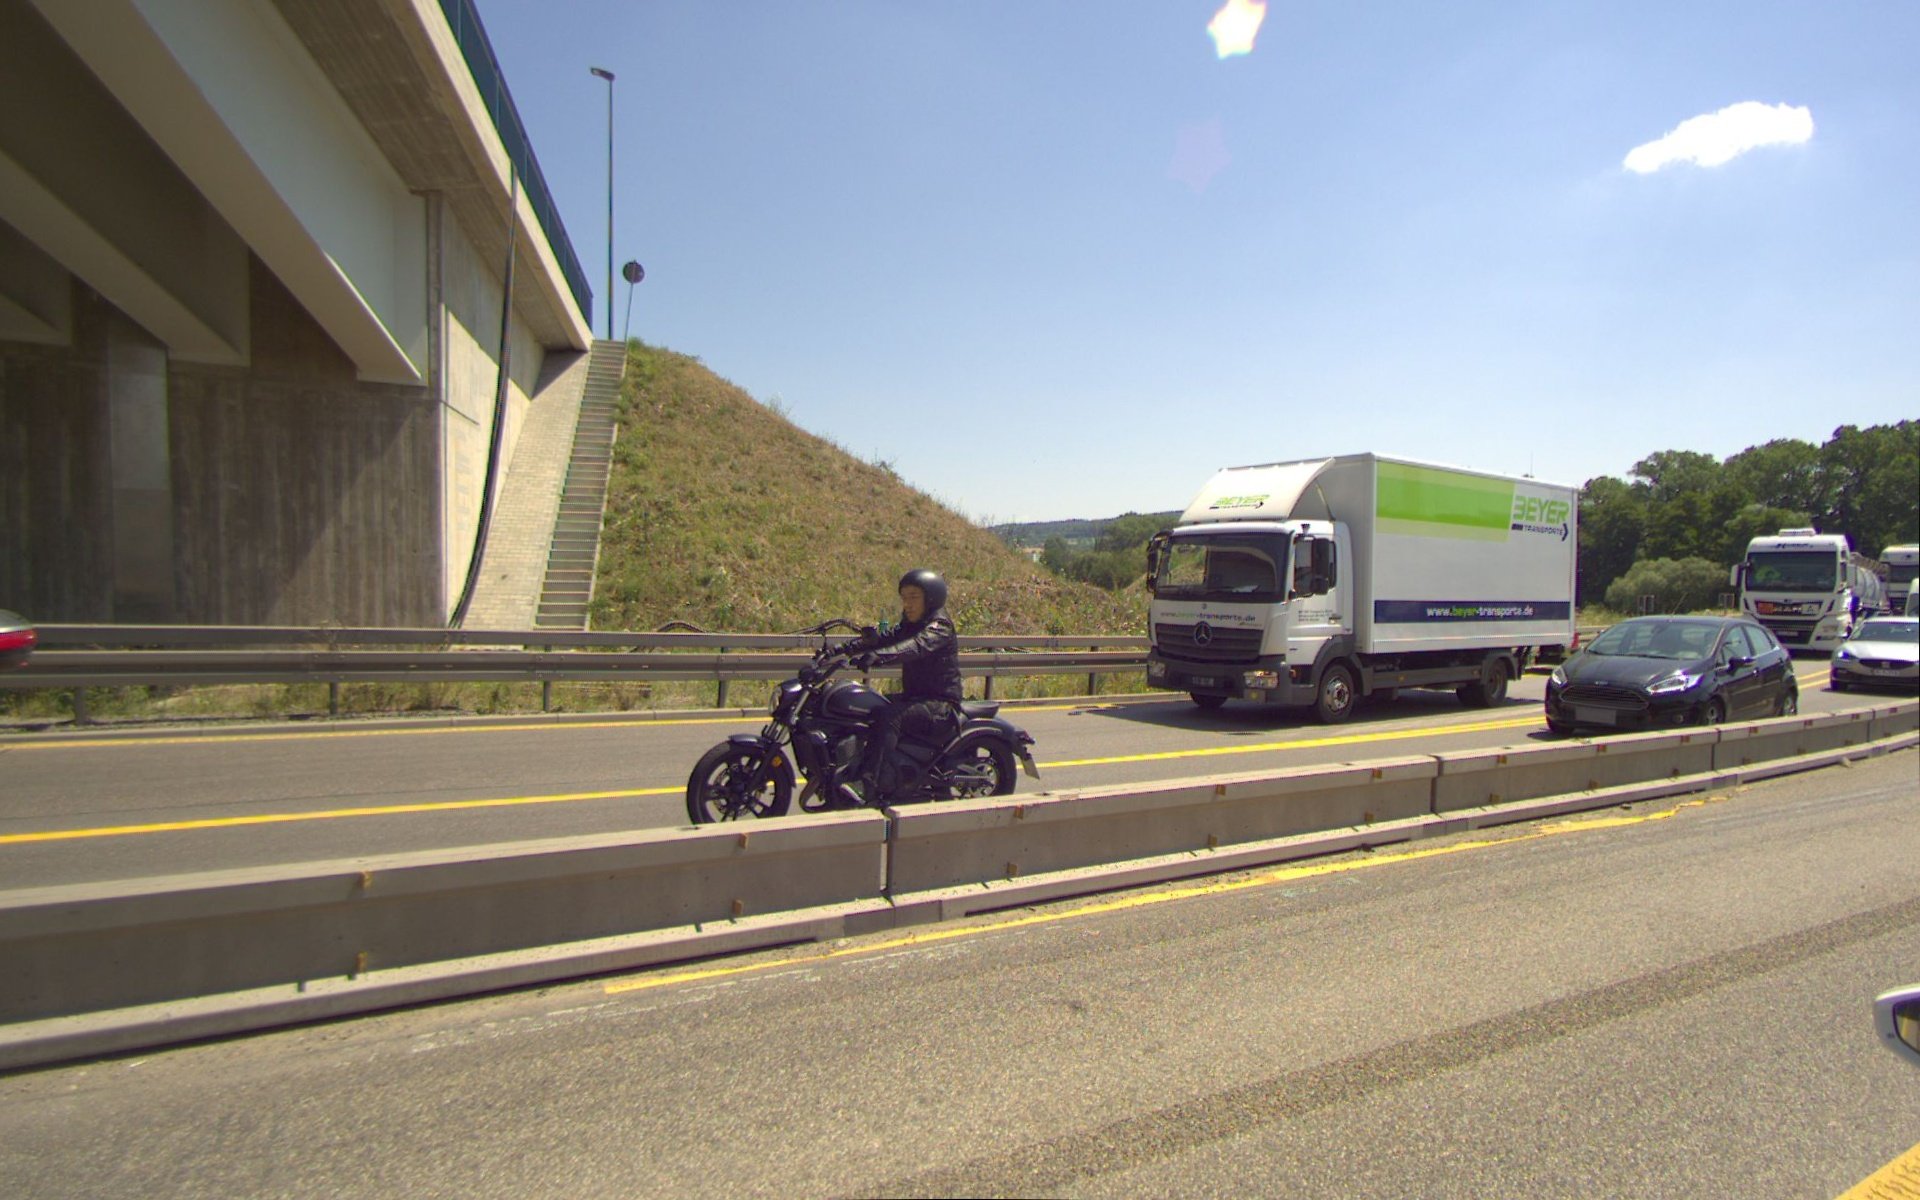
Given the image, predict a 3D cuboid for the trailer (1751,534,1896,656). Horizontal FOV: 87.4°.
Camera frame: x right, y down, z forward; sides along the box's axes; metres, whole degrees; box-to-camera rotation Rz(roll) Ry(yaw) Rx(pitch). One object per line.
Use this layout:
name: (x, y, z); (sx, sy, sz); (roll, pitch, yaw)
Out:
trailer: (31.156, -0.148, 36.054); (10.167, 3.840, 2.503); (1, 2, -42)

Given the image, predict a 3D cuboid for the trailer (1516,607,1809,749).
trailer: (8.701, 0.877, 12.349); (3.959, 1.450, 1.653); (2, 0, -35)

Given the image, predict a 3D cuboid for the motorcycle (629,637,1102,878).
motorcycle: (-0.491, 0.837, 6.098); (2.759, 1.165, 0.828); (2, 0, -31)

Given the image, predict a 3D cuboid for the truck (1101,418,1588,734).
truck: (6.162, -0.239, 15.208); (8.419, 3.623, 2.796); (1, 1, -37)

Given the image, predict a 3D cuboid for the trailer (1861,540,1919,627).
trailer: (49.237, -0.816, 51.939); (5.167, 4.286, 2.846); (0, 1, -35)

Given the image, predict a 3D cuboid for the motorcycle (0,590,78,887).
motorcycle: (-5.481, 0.589, 4.109); (2.702, 1.296, 0.699); (1, 1, -29)

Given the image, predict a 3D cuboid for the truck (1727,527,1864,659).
truck: (26.675, -0.214, 32.027); (4.912, 3.873, 2.511); (1, 2, -42)

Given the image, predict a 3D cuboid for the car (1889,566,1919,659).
car: (29.033, 0.432, 29.441); (6.436, 2.537, 2.052); (2, 0, -42)

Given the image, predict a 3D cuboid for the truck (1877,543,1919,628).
truck: (56.083, -0.779, 56.764); (15.215, 4.401, 2.789); (0, 2, -35)

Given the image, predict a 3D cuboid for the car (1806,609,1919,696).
car: (18.559, 0.957, 19.866); (4.481, 1.484, 1.831); (0, 1, -37)

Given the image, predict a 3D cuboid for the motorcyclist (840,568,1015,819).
motorcyclist: (-0.216, 0.544, 6.255); (0.734, 1.435, 0.807); (3, 0, -30)
